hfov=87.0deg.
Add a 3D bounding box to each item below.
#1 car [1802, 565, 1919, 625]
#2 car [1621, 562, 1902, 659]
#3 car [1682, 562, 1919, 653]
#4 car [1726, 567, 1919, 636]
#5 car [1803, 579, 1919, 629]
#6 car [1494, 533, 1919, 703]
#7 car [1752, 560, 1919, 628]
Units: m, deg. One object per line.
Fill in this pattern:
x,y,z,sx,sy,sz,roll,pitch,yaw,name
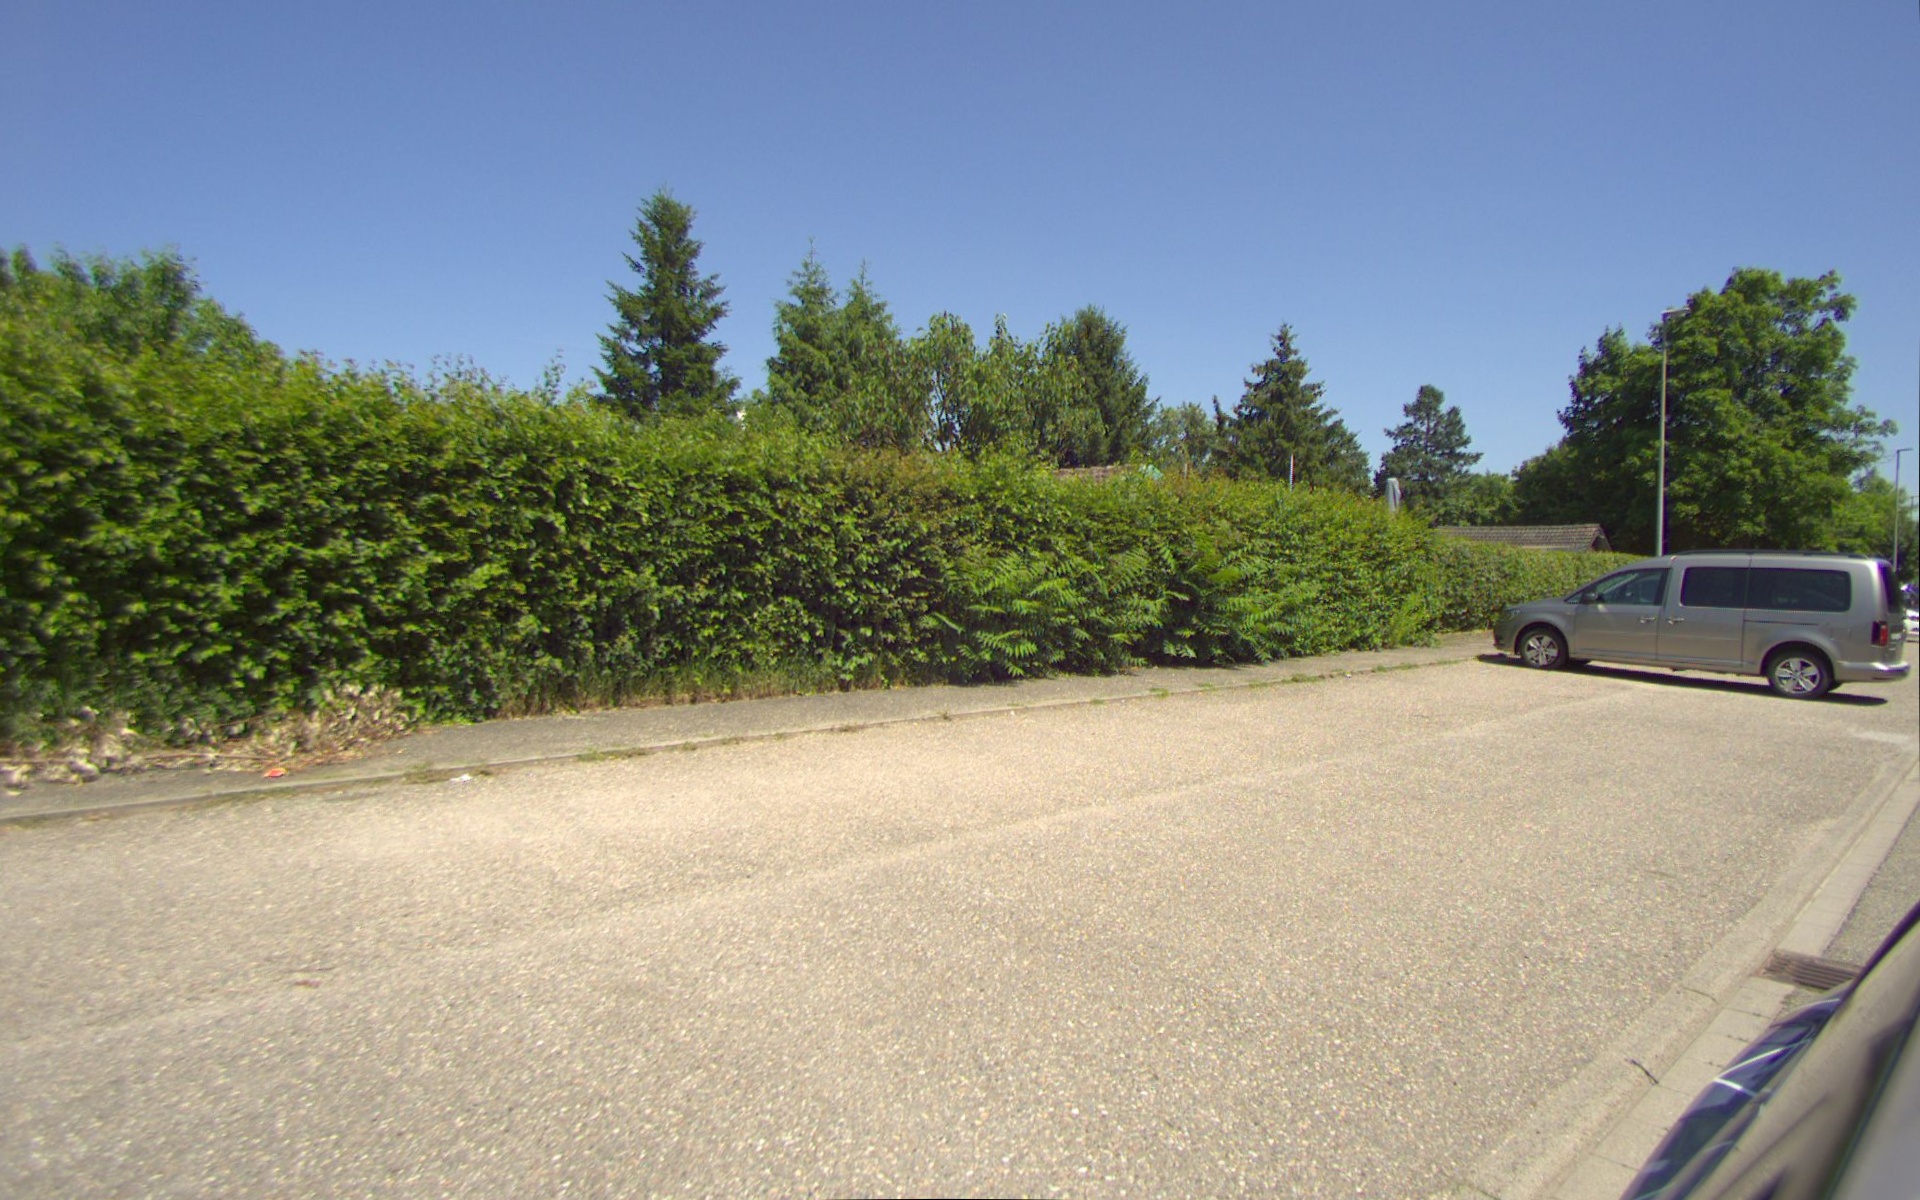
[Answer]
32.442,-0.114,35.210,1.881,1.723,4.481,1,6,-43,car
16.342,0.148,20.803,1.810,1.404,4.212,1,6,-43,car
18.605,0.110,22.336,1.813,1.495,3.929,1,6,-42,car
25.039,0.010,29.058,4.563,1.455,1.930,9,6,44,car
30.740,0.131,33.600,1.801,1.470,4.003,0,3,-43,car
10.472,0.114,14.381,1.961,1.870,4.632,1,4,-41,car
28.459,-0.222,32.591,1.821,1.718,4.269,1,6,-42,car
